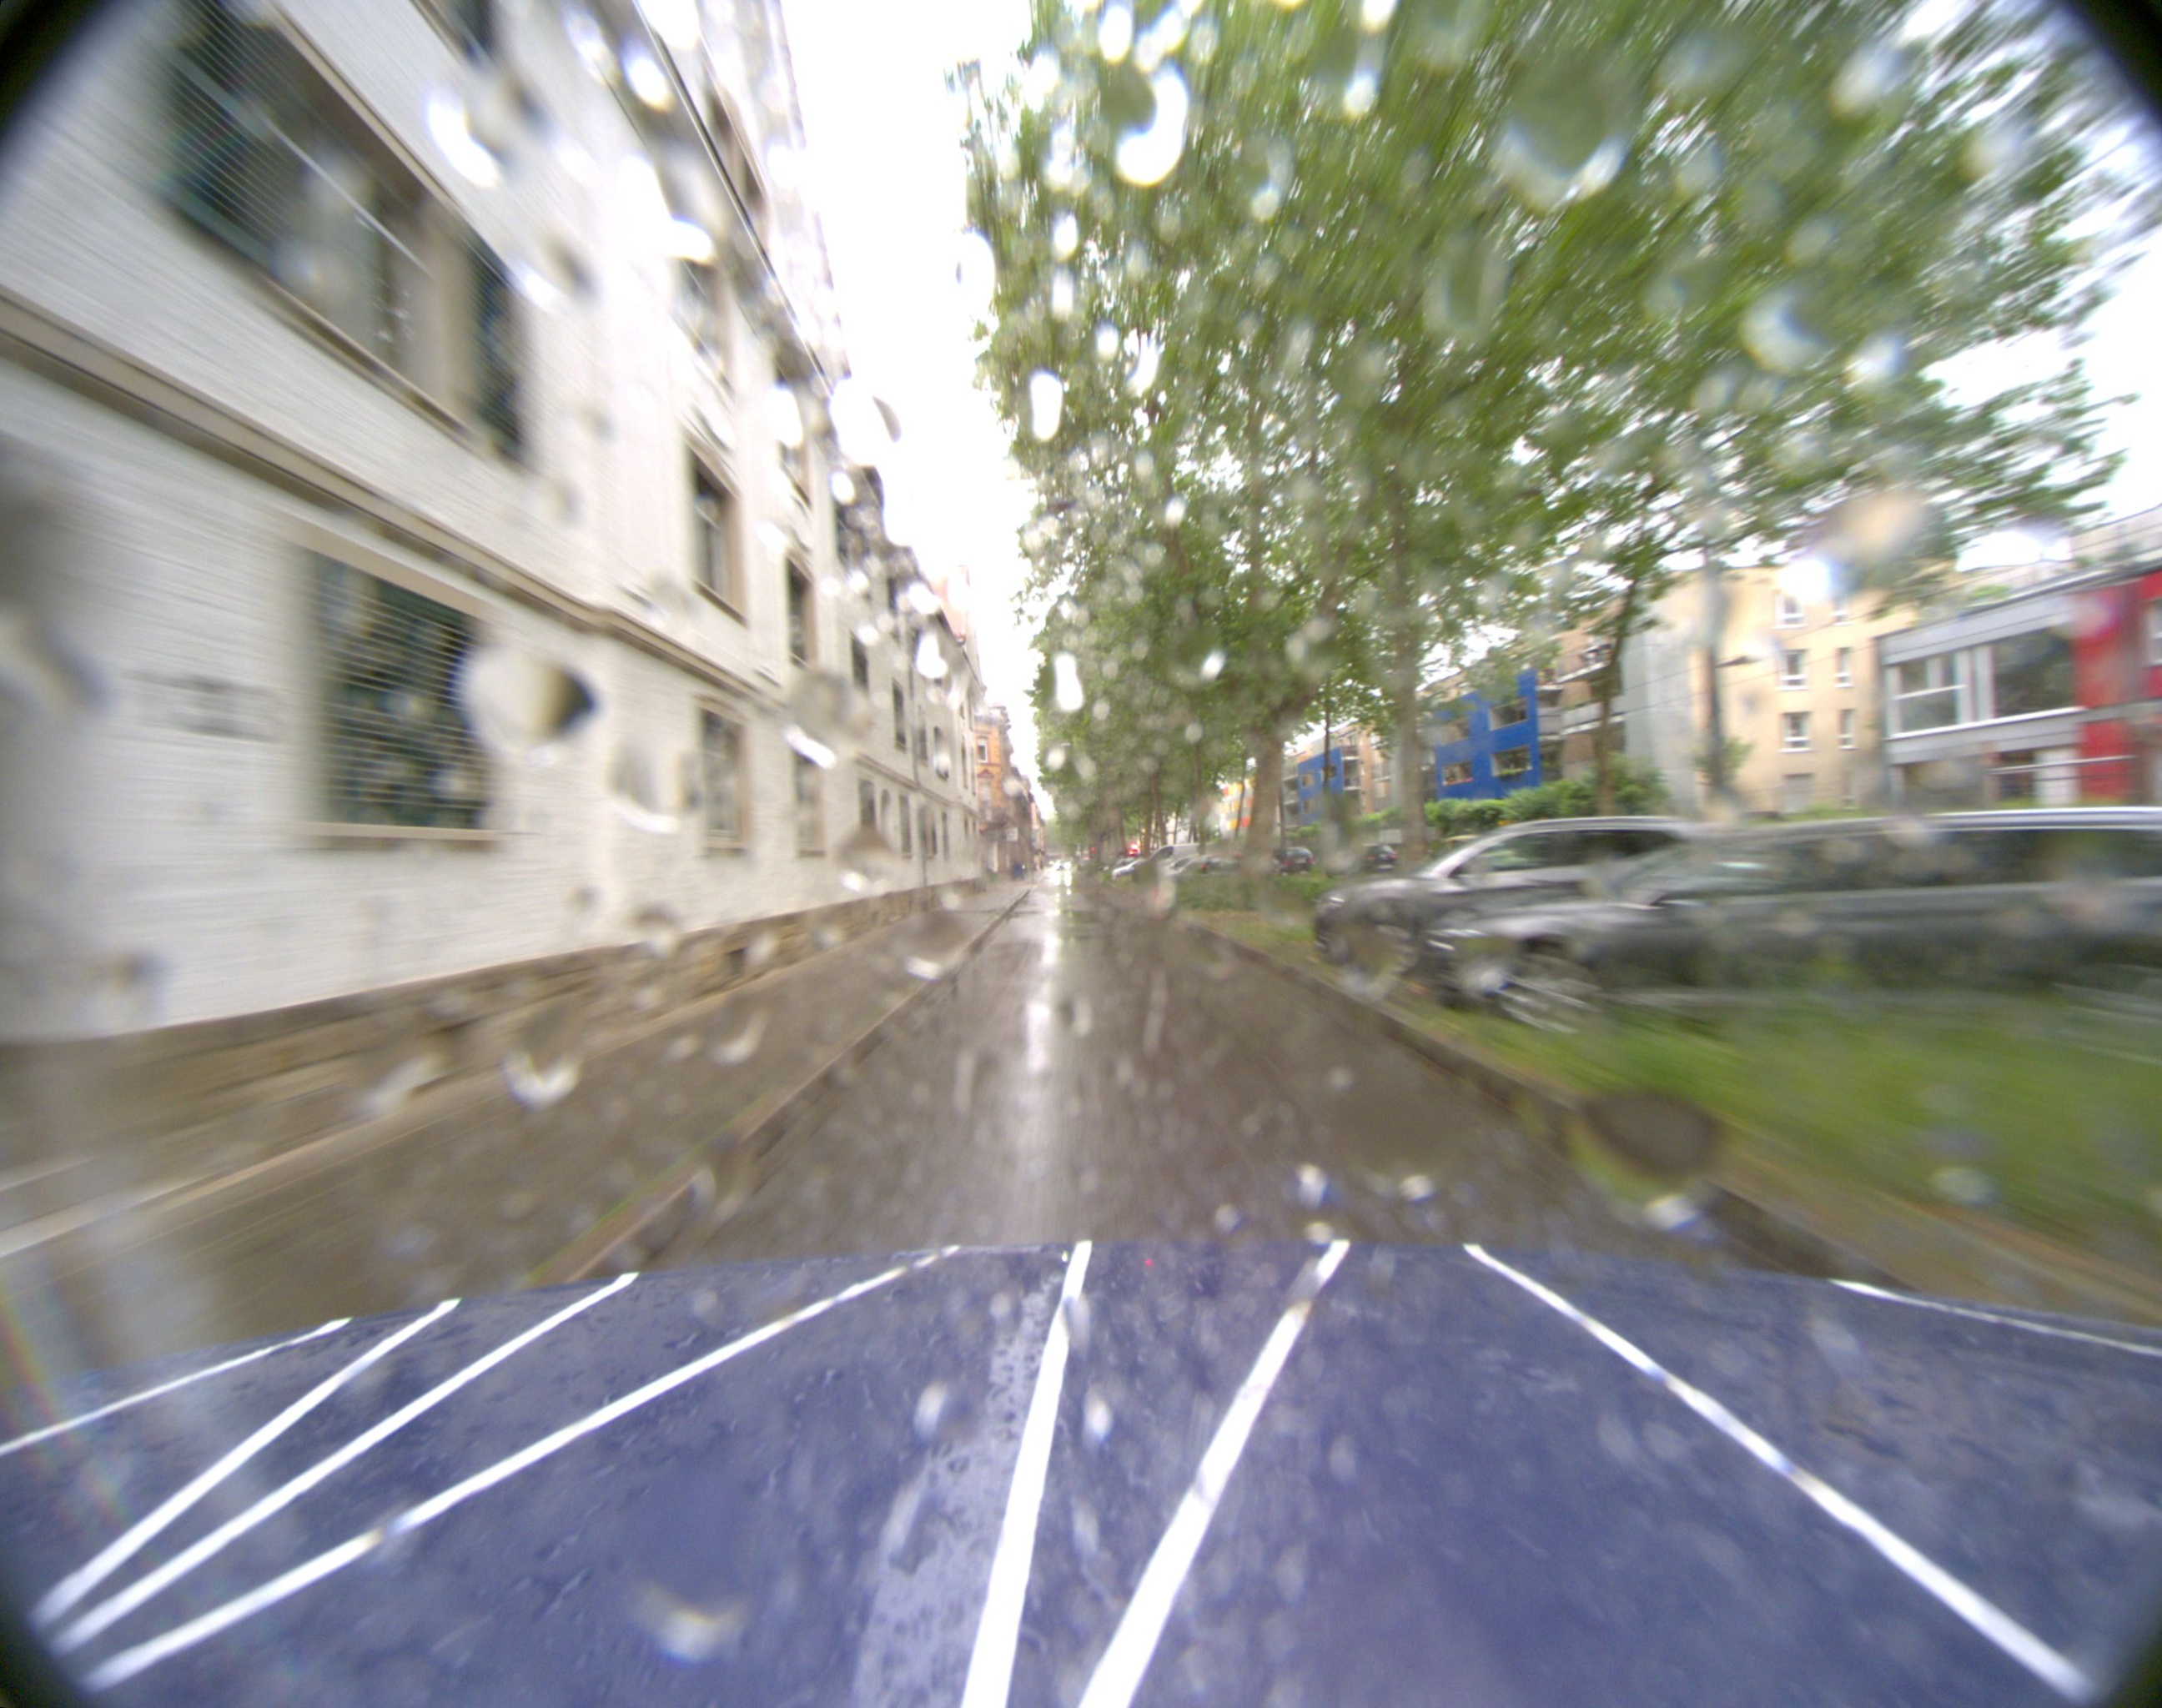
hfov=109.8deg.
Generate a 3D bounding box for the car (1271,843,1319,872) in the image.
[{"bbox_3d":[11.535,0.172,41.146,1.691,1.439,4.001,-2,1,4],"label":"car"}]

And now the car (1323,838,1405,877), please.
[{"bbox_3d":[11.521,0.106,31.220,1.692,1.439,3.999,-2,1,-2],"label":"car"}]

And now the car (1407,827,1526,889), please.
[{"bbox_3d":[11.857,0.109,23.660,1.692,1.714,3.690,-2,1,-2],"label":"car"}]

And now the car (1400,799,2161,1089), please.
[{"bbox_3d":[4.755,0.481,5.428,4.322,1.499,1.751,-2,1,31],"label":"car"}]

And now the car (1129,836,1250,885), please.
[{"bbox_3d":[4.835,0.307,34.040,4.880,2.002,2.003,-2,1,29],"label":"car"}]

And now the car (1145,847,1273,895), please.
[{"bbox_3d":[4.359,0.577,25.862,3.991,1.477,1.662,-2,1,21],"label":"car"}]

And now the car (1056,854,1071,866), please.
[{"bbox_3d":[-2.523,0.875,109.645,1.851,1.586,4.216,-3,0,1],"label":"car"}]

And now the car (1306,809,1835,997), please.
[{"bbox_3d":[4.796,0.460,8.156,4.323,1.603,1.751,-2,1,24],"label":"car"}]
